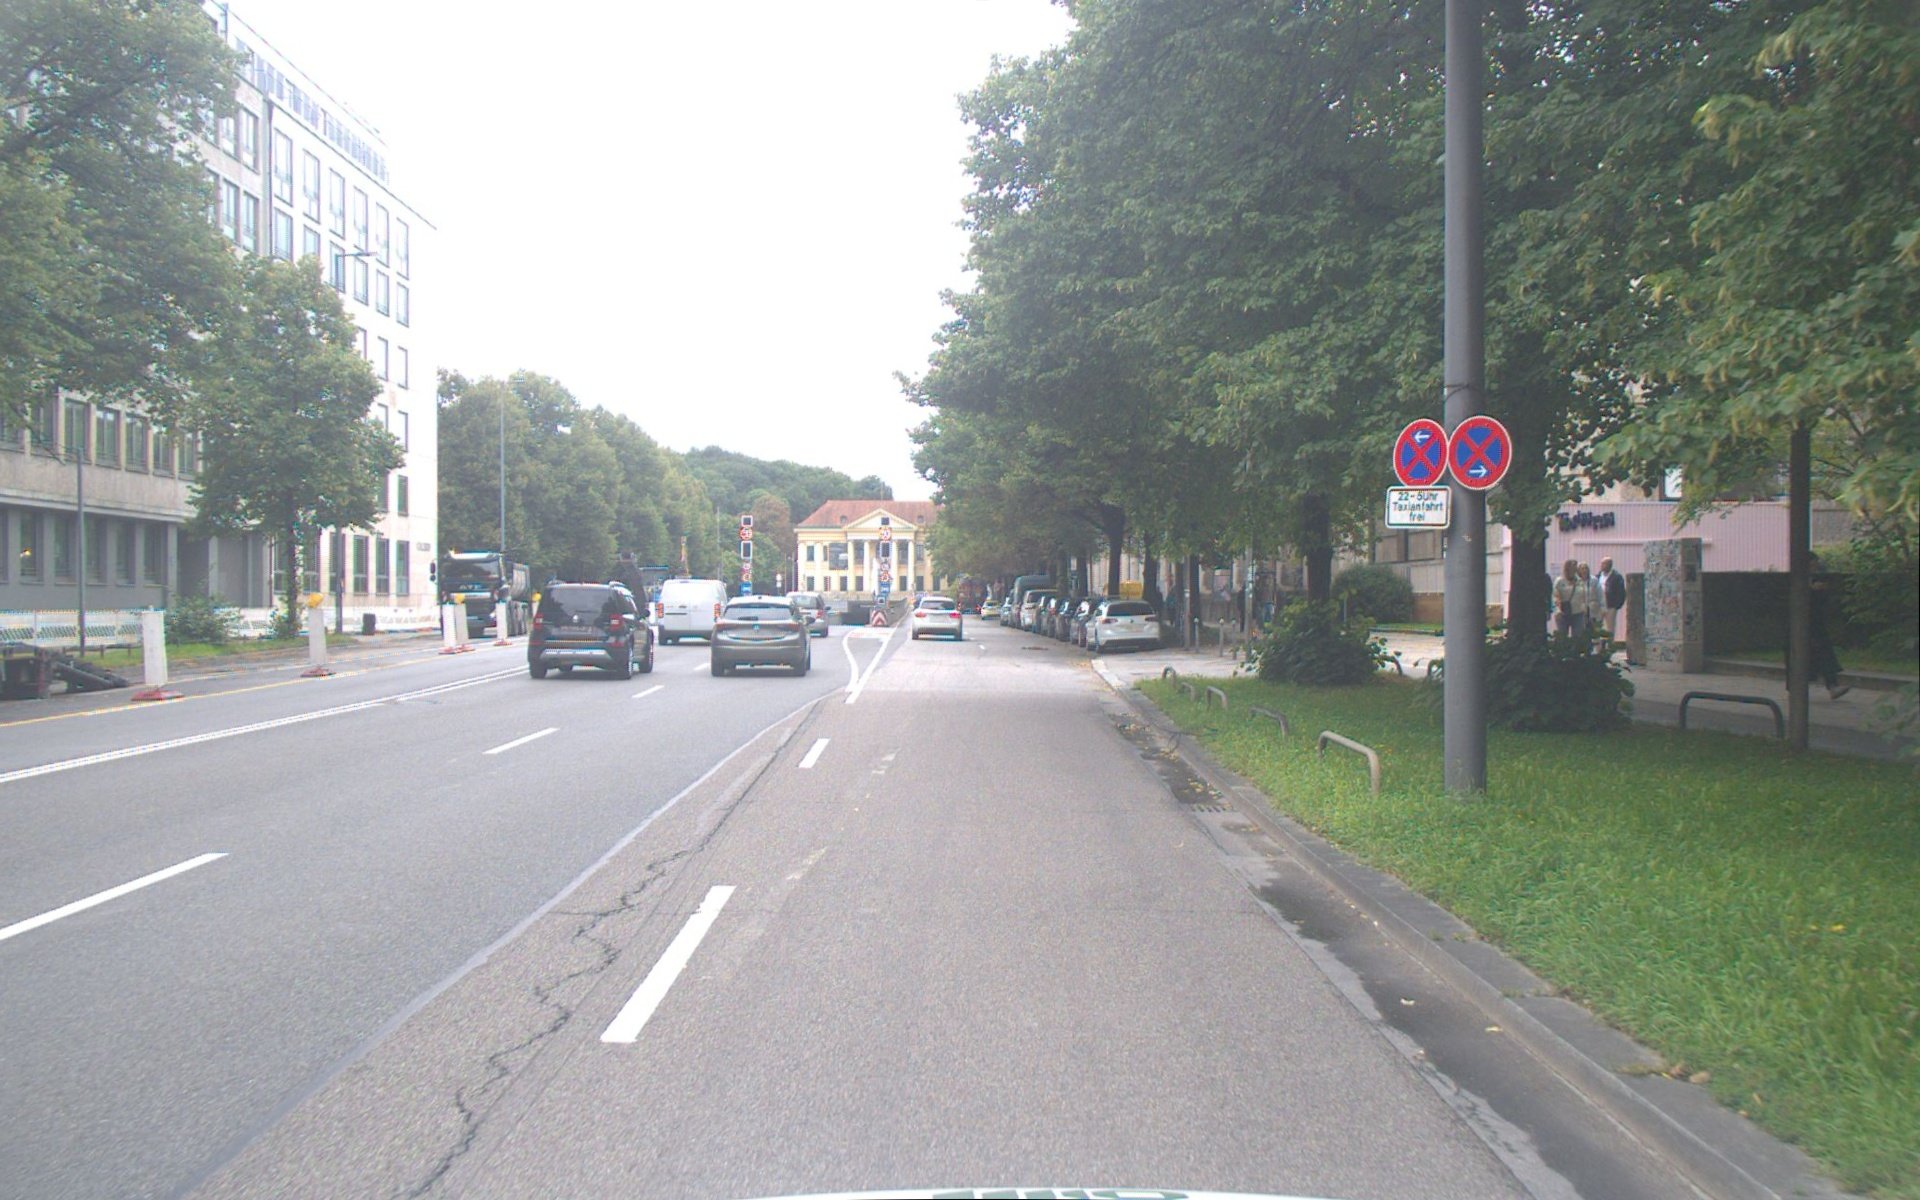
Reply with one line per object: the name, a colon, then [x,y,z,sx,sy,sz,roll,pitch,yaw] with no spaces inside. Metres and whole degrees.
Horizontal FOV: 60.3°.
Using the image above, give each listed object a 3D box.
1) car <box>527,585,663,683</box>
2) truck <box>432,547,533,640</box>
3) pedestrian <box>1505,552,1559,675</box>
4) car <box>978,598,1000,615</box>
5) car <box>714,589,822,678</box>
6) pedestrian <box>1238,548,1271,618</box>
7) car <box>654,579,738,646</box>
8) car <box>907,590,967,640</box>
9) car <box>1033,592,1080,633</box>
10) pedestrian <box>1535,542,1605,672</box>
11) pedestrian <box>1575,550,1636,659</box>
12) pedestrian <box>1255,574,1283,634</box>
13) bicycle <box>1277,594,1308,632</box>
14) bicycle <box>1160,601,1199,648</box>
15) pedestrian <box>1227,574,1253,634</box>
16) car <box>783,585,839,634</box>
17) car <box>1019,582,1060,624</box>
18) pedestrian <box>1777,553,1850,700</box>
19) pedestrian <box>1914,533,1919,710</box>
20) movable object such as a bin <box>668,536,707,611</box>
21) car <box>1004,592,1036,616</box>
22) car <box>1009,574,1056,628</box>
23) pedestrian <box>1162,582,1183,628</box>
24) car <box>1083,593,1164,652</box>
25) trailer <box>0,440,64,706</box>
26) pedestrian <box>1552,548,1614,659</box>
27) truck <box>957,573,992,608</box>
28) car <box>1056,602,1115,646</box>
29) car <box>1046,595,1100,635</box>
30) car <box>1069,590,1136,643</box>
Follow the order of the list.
car: [-6.611,0.581,30.349,1.688,1.665,4.203,0,0,-2]
truck: [-18.835,-0.246,65.770,2.788,3.415,8.745,1,0,-9]
pedestrian: [9.780,0.222,28.290,0.582,2.049,0.724,-2,0,-1]
car: [2.304,0.538,132.232,1.689,1.347,4.027,-1,0,-1]
car: [-3.651,0.599,31.994,1.675,1.579,3.999,1,0,-1]
pedestrian: [8.321,-0.481,46.772,0.763,1.943,0.771,1,0,-1]
car: [-7.788,0.370,49.173,1.860,1.880,4.954,0,0,-2]
car: [-0.846,0.493,58.386,1.745,1.673,3.995,1,0,-6]
car: [4.112,0.508,70.753,1.689,1.694,4.589,-1,0,-1]
pedestrian: [9.890,0.110,26.840,0.747,2.048,0.776,-3,0,-1]
pedestrian: [11.203,0.081,28.720,0.587,1.840,0.718,-2,0,-25]
pedestrian: [10.021,0.129,53.643,0.748,1.943,0.771,1,0,-1]
bicycle: [12.997,0.508,64.686,0.685,1.440,2.298,0,0,-1]
bicycle: [6.203,0.673,46.819,0.616,1.252,2.617,1,0,-3]
pedestrian: [9.092,0.125,53.739,0.685,1.943,0.771,1,0,-1]
car: [-5.349,0.327,59.704,1.743,1.683,3.999,1,0,-2]
car: [3.724,0.146,78.395,1.689,1.900,4.027,-1,0,-1]
pedestrian: [10.107,0.313,19.606,0.568,1.705,0.553,1,0,2]
pedestrian: [10.097,0.222,16.566,0.617,1.805,0.782,1,0,2]
movable object such as a bin: [-24.590,-2.323,149.470,2.645,6.625,5.175,1,0,-1]
car: [3.554,0.228,98.457,1.689,1.347,4.027,-1,0,-1]
car: [3.726,0.038,85.477,1.954,2.689,4.875,1,0,-3]
pedestrian: [9.175,0.215,71.373,0.763,1.943,0.771,1,0,-1]
car: [4.638,0.621,47.447,1.790,1.577,4.751,-1,0,-1]
trailer: [-14.831,-0.406,19.595,2.892,3.805,11.758,1,0,-5]
pedestrian: [10.500,0.061,27.878,0.587,1.840,0.718,-2,0,-25]
truck: [1.420,-0.902,169.329,3.258,3.426,8.660,1,0,-1]
car: [4.445,0.826,59.302,1.689,1.490,4.775,-1,0,-1]
car: [4.401,0.566,64.866,1.785,1.490,4.027,-1,0,-1]
car: [4.524,0.509,52.953,1.689,1.577,4.585,-1,0,-1]
